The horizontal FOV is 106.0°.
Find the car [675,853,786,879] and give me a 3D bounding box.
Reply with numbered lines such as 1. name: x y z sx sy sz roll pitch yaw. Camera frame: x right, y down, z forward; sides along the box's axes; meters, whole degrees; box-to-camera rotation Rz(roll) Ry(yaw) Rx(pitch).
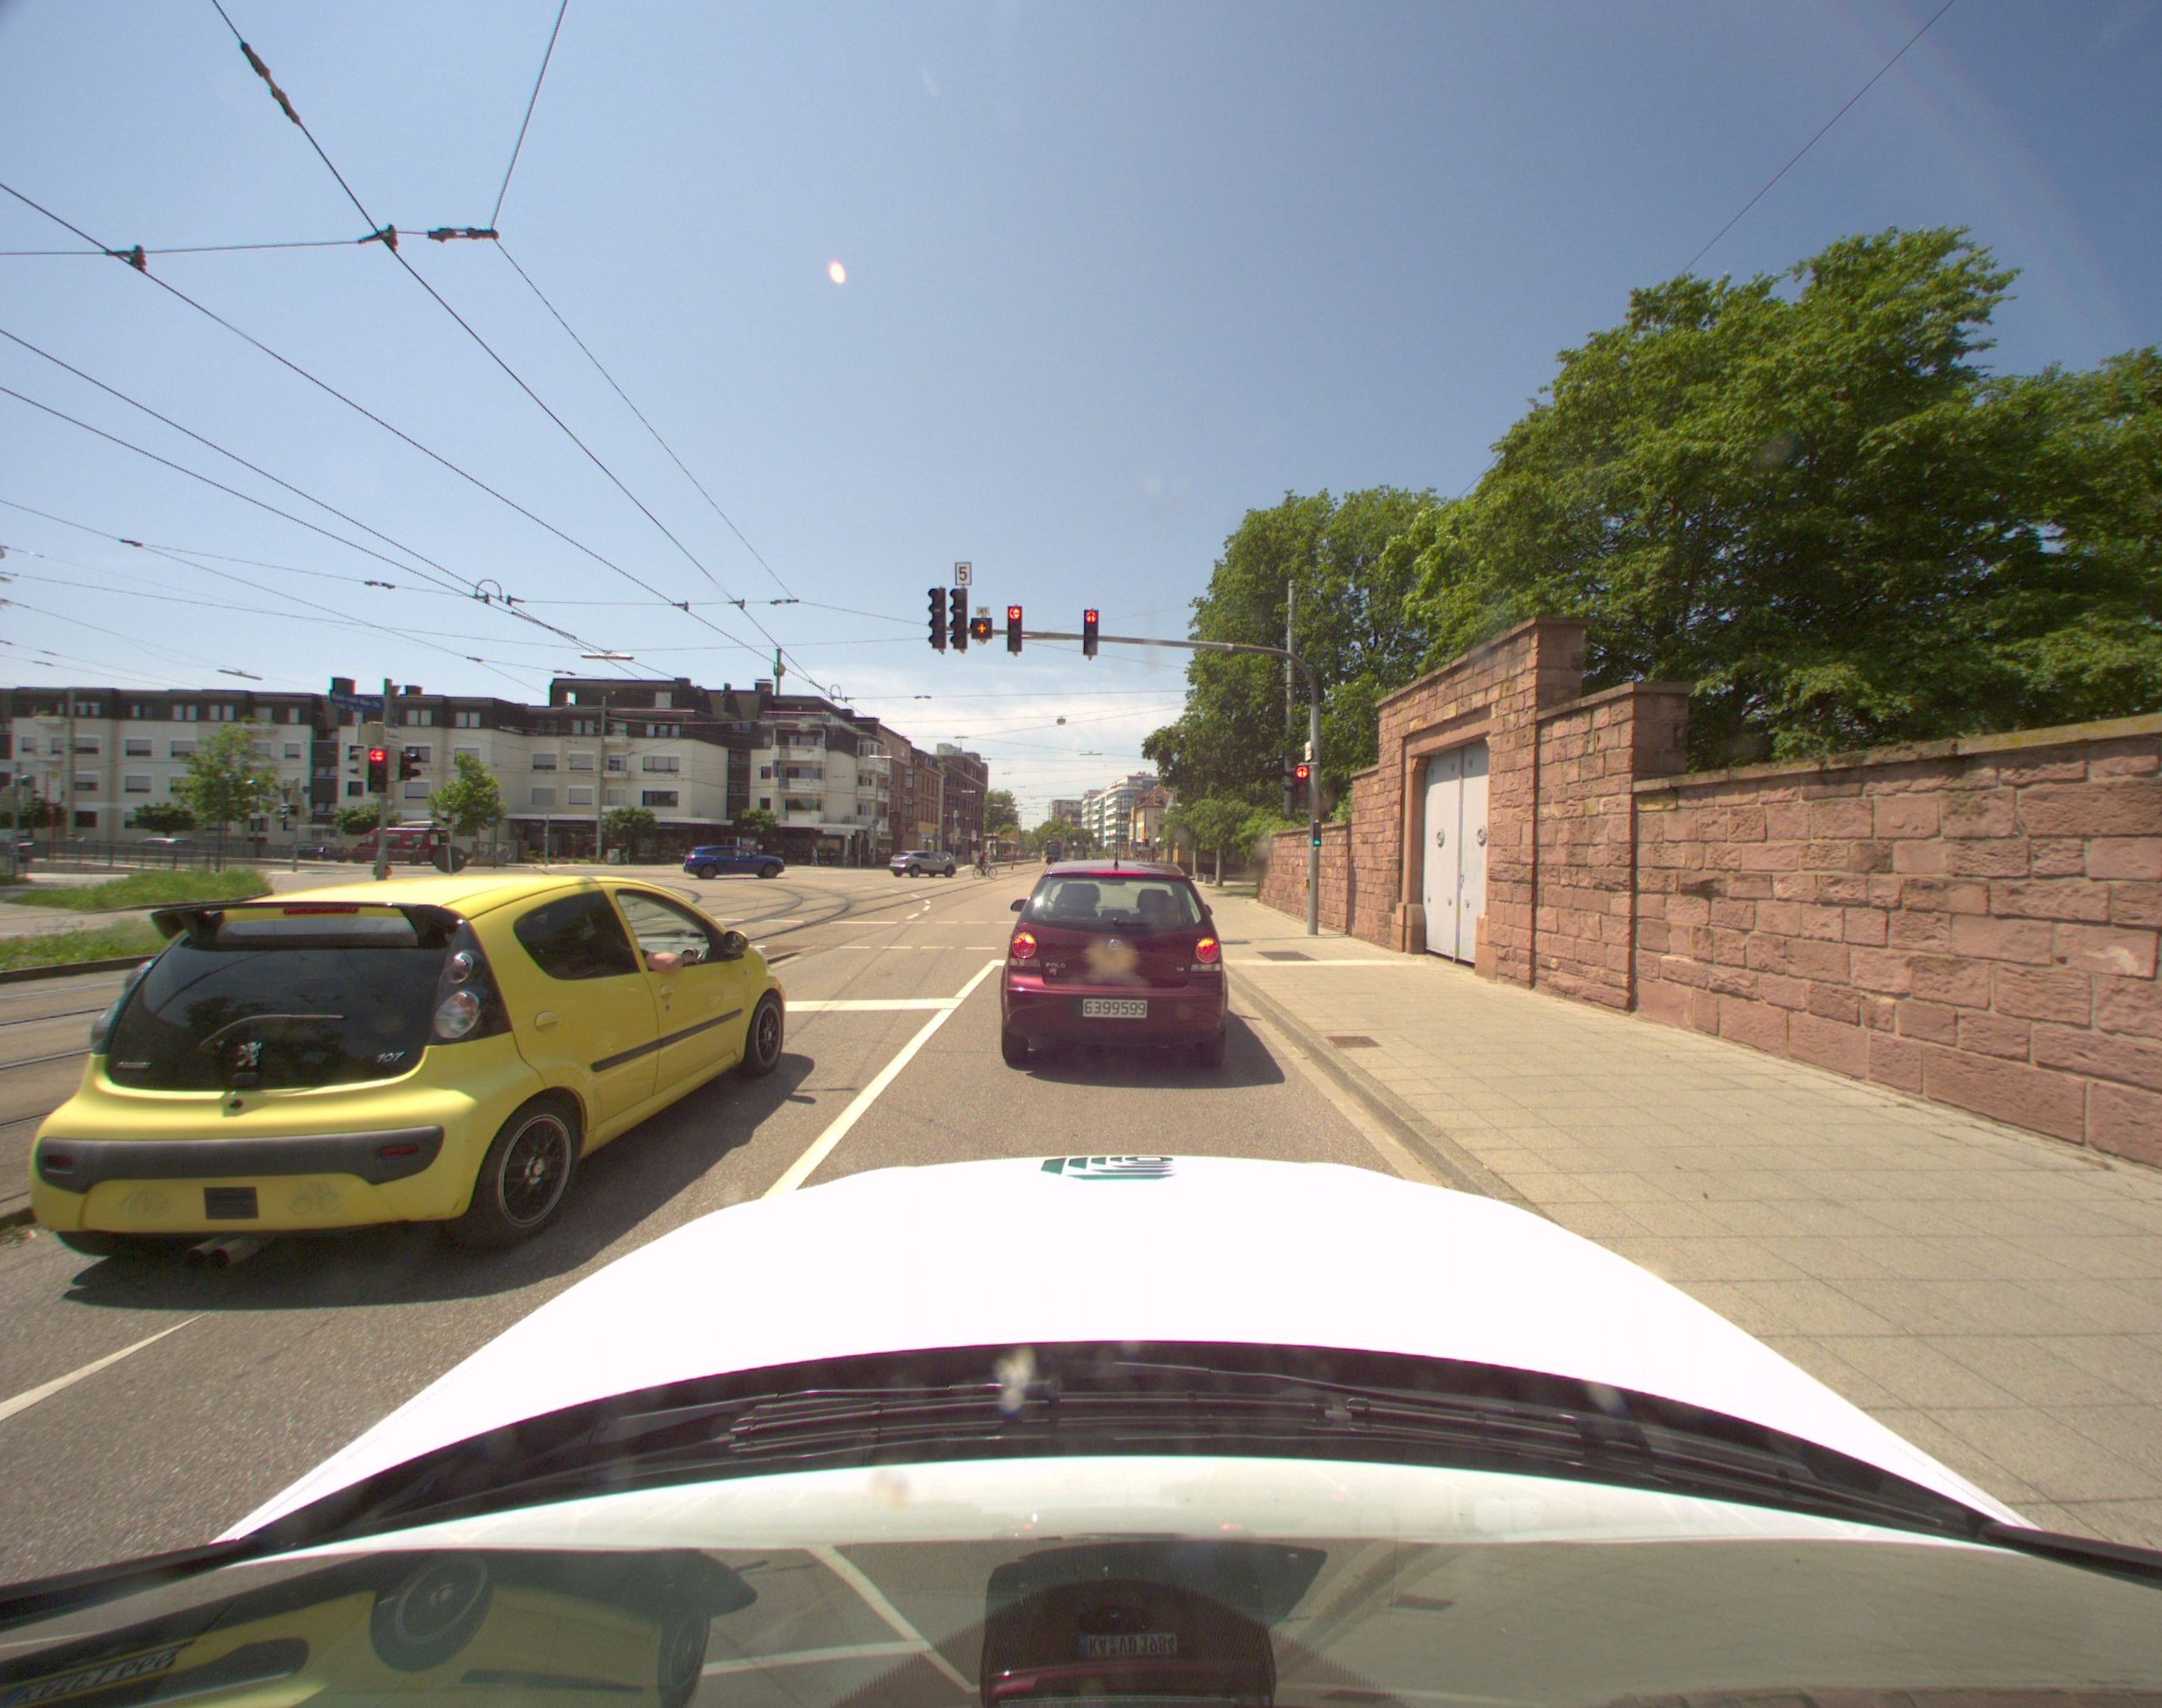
1. car: -17.461 0.588 40.663 4.803 1.237 1.919 0 -1 -34

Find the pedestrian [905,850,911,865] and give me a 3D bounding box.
1. pedestrian: -18.101 0.351 85.207 0.483 1.541 0.537 0 -1 -5

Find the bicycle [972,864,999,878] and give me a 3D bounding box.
1. bicycle: -5.702 1.011 48.670 0.460 0.783 1.999 -1 -1 30

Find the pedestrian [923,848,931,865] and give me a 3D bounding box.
1. pedestrian: -16.310 0.303 86.342 0.659 1.787 0.815 1 0 1

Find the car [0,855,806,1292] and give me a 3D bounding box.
1. car: -2.958 0.757 4.439 1.717 1.445 3.293 -1 0 1

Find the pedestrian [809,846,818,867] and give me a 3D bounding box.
1. pedestrian: -22.807 0.235 69.388 0.614 1.754 0.499 1 -2 -43

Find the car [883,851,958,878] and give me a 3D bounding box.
1. car: -9.675 0.621 49.358 1.915 1.584 4.177 -1 -1 41

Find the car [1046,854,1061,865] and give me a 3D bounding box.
1. car: -3.908 0.801 117.192 1.931 1.641 4.000 0 -1 1

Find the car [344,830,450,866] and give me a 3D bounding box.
1. car: -45.506 -0.387 54.264 5.048 2.341 2.244 0 -1 0

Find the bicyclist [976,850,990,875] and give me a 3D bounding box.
1. bicyclist: -5.828 0.513 48.488 0.476 1.501 0.757 -1 -1 30

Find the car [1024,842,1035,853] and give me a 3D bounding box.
1. car: -9.693 -1.287 153.864 1.728 2.013 4.002 1 0 2

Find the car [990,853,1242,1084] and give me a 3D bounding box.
1. car: 0.247 0.738 7.295 1.604 1.463 4.085 1 0 0
